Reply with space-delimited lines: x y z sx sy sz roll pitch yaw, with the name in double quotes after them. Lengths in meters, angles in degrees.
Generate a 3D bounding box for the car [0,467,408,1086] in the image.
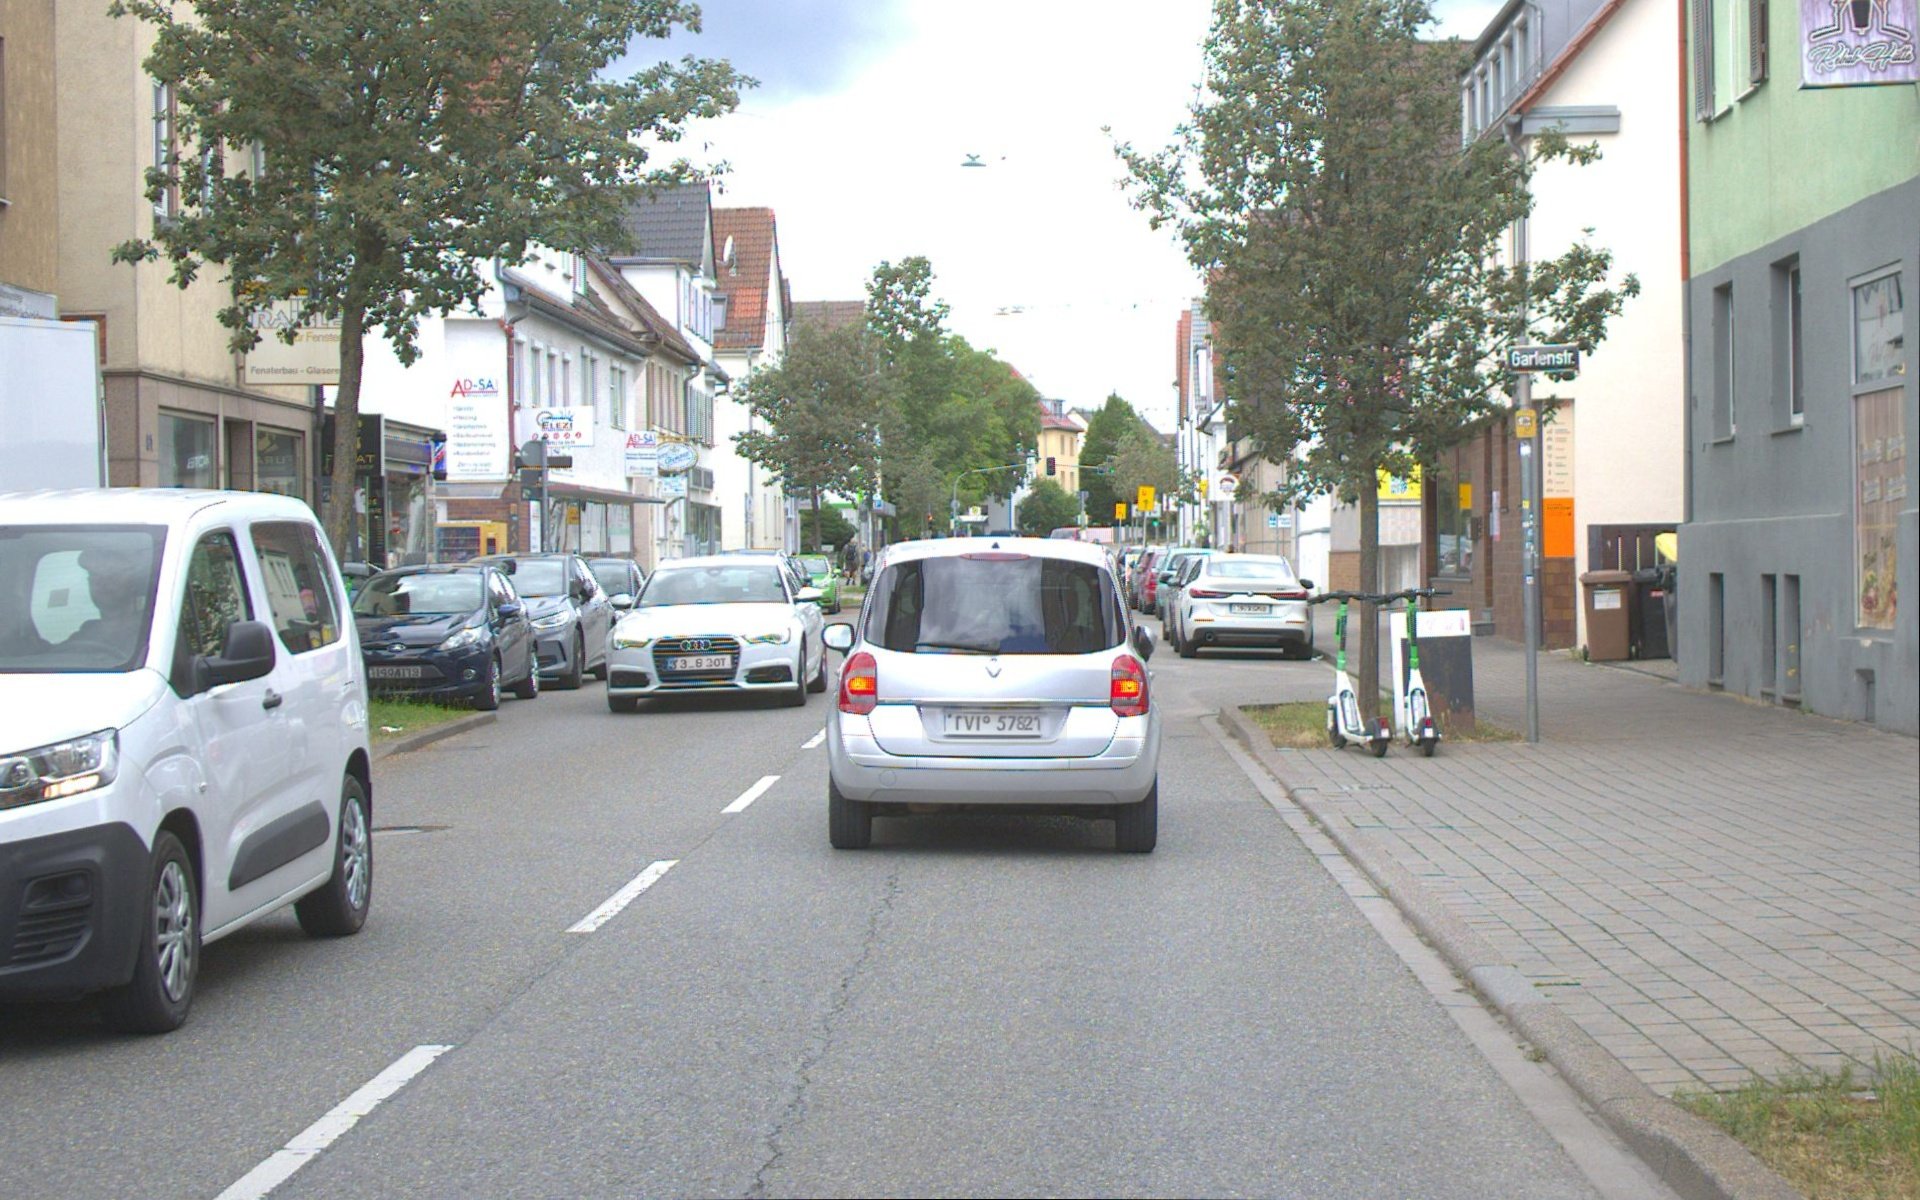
-3.374 0.503 12.157 1.993 1.790 4.277 -2 1 2 "car"

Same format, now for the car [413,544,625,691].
-5.086 0.161 40.108 1.710 1.560 4.113 -2 1 3 "car"

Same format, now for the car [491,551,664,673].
-5.030 0.124 45.629 1.682 1.488 3.591 -2 1 3 "car"

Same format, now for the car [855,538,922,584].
-2.429 -1.365 118.423 1.948 1.462 4.516 -3 1 2 "car"

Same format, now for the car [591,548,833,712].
-2.353 0.244 33.696 1.843 1.428 4.543 -2 1 2 "car"

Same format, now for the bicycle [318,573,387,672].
-7.771 0.273 44.044 0.502 1.231 1.942 0 1 1 "bicycle"

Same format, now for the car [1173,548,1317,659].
3.918 0.014 47.824 1.831 1.441 4.331 1 1 3 "car"

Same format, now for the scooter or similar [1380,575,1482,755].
3.386 0.442 24.818 0.502 1.231 1.942 0 1 1 "scooter or similar"

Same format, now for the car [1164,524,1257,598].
5.259 -0.830 72.514 1.831 1.492 3.993 1 1 3 "car"

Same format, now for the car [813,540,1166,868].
0.228 0.464 18.511 1.682 1.560 3.993 1 1 3 "car"

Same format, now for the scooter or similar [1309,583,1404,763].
2.852 0.501 24.831 0.502 1.231 1.942 0 1 1 "scooter or similar"

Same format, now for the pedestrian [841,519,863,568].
-3.982 -2.086 126.944 0.762 1.785 0.890 0 1 2 "pedestrian"

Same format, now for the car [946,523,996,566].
0.488 -2.368 145.995 1.901 1.731 4.366 -2 1 3 "car"

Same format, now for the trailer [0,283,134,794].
-7.480 -0.370 20.384 2.504 3.208 7.133 0 1 9 "trailer"

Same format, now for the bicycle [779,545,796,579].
-5.726 -1.269 114.383 0.514 1.149 1.666 0 1 -1 "bicycle"

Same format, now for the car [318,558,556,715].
-5.213 0.321 34.721 1.682 1.420 3.931 -2 1 1 "car"

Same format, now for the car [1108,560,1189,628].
4.227 -0.157 77.368 1.755 1.441 4.454 1 1 3 "car"

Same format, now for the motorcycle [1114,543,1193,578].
6.569 -1.355 116.611 2.728 1.179 0.700 0 1 -28 "motorcycle"
